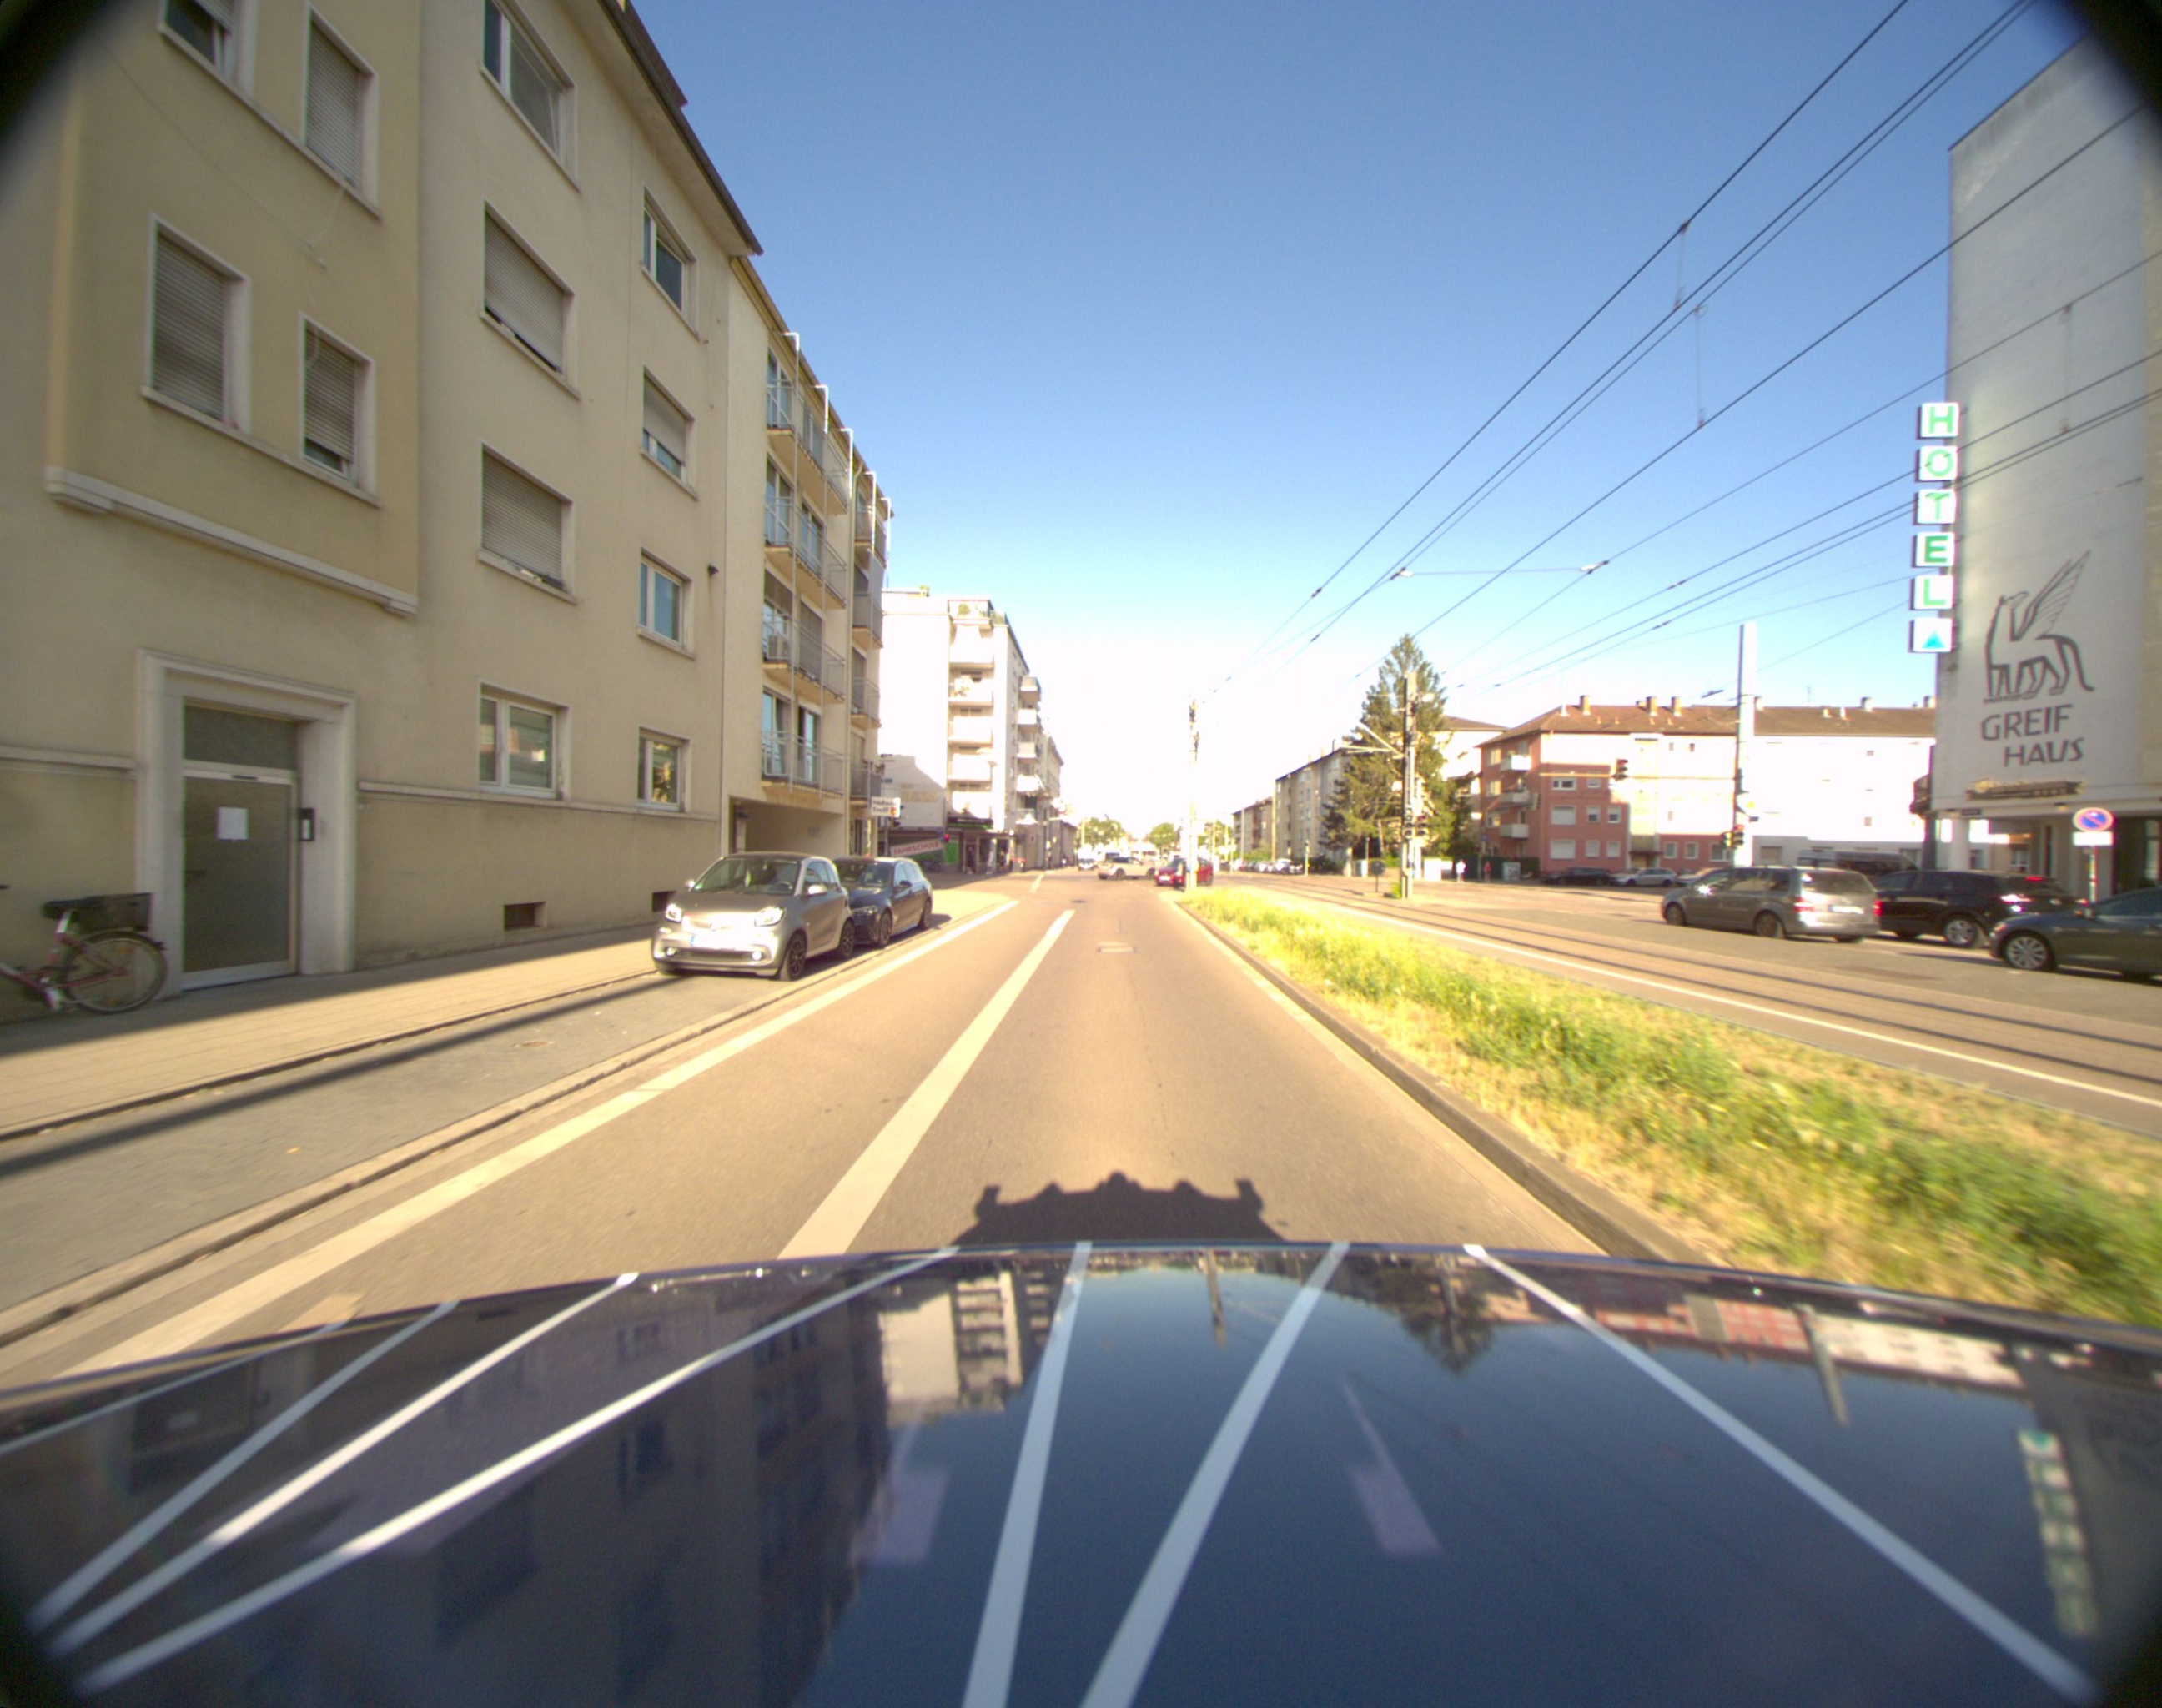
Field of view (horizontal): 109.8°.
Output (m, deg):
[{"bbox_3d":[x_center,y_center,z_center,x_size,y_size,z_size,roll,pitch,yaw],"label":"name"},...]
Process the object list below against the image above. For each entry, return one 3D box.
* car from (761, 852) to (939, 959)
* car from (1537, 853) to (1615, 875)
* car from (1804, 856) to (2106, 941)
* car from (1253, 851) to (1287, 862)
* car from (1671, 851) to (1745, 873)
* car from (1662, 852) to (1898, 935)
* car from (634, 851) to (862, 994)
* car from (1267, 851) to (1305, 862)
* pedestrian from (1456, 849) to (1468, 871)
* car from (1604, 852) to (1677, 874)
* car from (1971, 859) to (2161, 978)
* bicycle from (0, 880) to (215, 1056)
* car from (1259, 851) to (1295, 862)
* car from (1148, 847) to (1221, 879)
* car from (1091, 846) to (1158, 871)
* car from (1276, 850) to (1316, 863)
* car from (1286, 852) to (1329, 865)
[{"bbox_3d":[-3.914,0.779,13.668,1.822,1.543,4.175,2,1,1],"label":"car"},{"bbox_3d":[36.512,0.709,56.107,4.460,1.434,1.860,-2,1,2],"label":"car"},{"bbox_3d":[18.750,0.862,16.656,1.998,1.550,3.999,1,1,1],"label":"car"},{"bbox_3d":[24.542,0.316,98.702,3.996,1.324,1.738,1,1,2],"label":"car"},{"bbox_3d":[46.217,0.573,56.075,3.897,1.434,1.787,-2,1,2],"label":"car"},{"bbox_3d":[15.352,0.771,17.027,1.617,1.550,4.000,2,1,2],"label":"car"},{"bbox_3d":[-4.153,0.770,9.926,1.762,1.543,2.649,2,1,1],"label":"car"},{"bbox_3d":[24.276,0.292,90.174,3.996,1.324,1.738,1,1,2],"label":"car"},{"bbox_3d":[28.271,0.458,56.360,0.615,1.597,0.510,-2,1,1],"label":"pedestrian"},{"bbox_3d":[41.375,0.652,56.239,3.996,1.434,1.748,-2,1,2],"label":"car"},{"bbox_3d":[15.330,0.919,10.018,1.998,1.541,4.366,3,1,1],"label":"car"},{"bbox_3d":[-7.716,0.827,5.677,0.325,1.167,1.764,-2,1,4],"label":"bicycle"},{"bbox_3d":[24.298,0.298,94.289,3.996,1.324,1.738,1,1,2],"label":"car"},{"bbox_3d":[5.176,0.441,37.728,1.858,1.462,3.817,2,1,39],"label":"car"},{"bbox_3d":[2.639,0.257,45.935,3.719,1.379,1.718,-3,1,-32],"label":"car"},{"bbox_3d":[23.953,0.295,84.679,3.996,1.324,1.738,1,1,2],"label":"car"},{"bbox_3d":[23.563,0.455,79.212,3.996,1.324,1.738,1,1,2],"label":"car"}]
